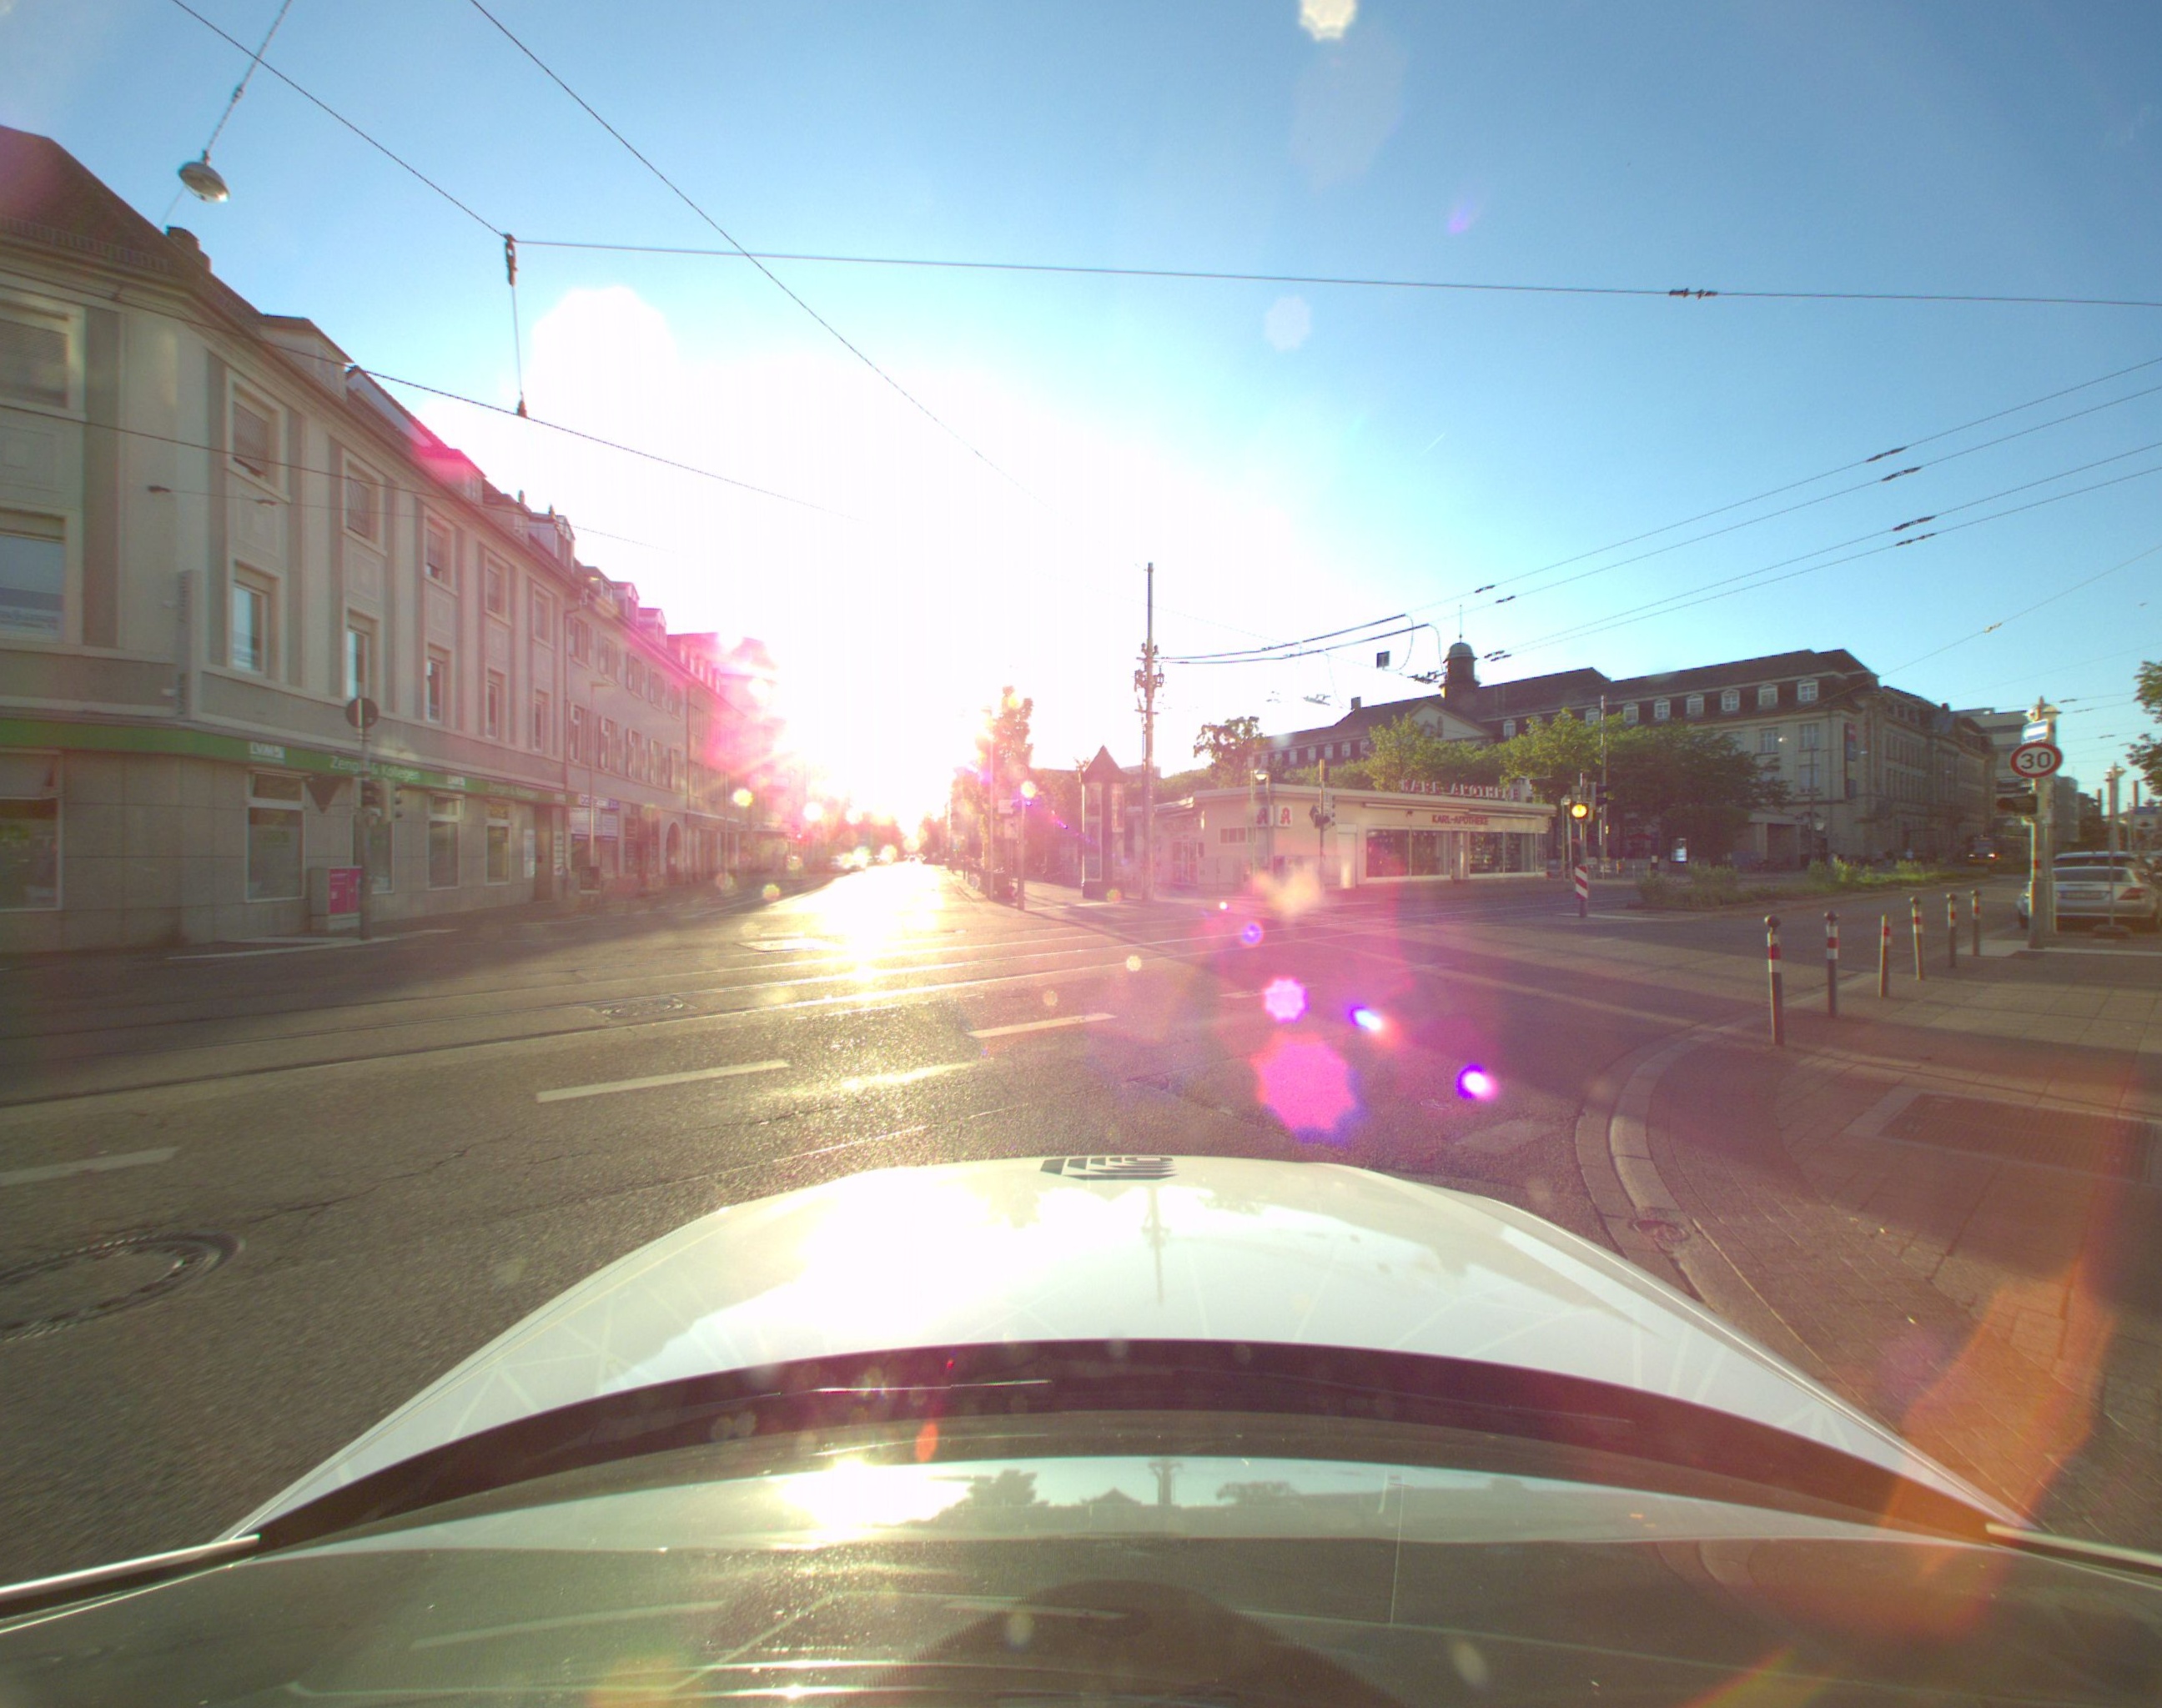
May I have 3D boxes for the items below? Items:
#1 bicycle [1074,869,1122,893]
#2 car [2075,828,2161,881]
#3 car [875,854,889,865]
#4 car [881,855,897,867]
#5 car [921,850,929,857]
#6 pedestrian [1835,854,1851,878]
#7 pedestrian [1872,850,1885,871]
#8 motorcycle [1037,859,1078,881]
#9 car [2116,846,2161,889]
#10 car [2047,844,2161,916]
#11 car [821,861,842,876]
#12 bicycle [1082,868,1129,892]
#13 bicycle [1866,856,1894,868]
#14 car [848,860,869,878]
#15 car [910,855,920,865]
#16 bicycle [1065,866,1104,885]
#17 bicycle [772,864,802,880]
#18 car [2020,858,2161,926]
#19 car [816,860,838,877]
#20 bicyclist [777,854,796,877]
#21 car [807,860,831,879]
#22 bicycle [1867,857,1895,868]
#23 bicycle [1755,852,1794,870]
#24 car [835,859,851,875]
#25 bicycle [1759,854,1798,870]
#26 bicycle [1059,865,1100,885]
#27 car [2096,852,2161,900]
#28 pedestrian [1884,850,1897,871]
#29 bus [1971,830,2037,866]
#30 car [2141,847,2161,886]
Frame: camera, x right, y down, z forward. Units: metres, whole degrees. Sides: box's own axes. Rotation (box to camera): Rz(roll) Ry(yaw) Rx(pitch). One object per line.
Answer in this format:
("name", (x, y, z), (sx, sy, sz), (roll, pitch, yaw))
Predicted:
("bicycle", (0.753, 1.220, 36.830), (2.142, 1.043, 0.559), (-1, -2, -3))
("car", (30.625, 0.068, 23.851), (4.170, 1.435, 1.717), (1, -2, -37))
("car", (-32.973, 0.935, 134.881), (1.993, 1.680, 3.986), (1, -1, -10))
("car", (-28.526, 0.986, 120.997), (1.993, 1.684, 3.988), (0, 0, -9))
("car", (-45.410, -0.097, 237.356), (1.993, 1.816, 3.988), (0, 0, -9))
("pedestrian", (61.503, 0.994, 65.750), (0.795, 1.934, 0.719), (2, -2, -31))
("pedestrian", (72.922, 0.587, 74.463), (0.664, 1.847, 0.687), (2, -2, -35))
("motorcycle", (-1.283, 0.877, 44.621), (2.231, 1.201, 0.719), (0, 0, -6))
("car", (41.902, 0.500, 31.597), (4.741, 1.585, 1.803), (0, 0, -34))
("car", (25.550, 0.588, 20.159), (4.305, 1.605, 1.751), (0, 0, -36))
("car", (-23.860, 1.388, 77.996), (1.546, 1.469, 3.338), (0, -1, -11))
("bicycle", (1.068, 1.141, 35.908), (2.015, 1.044, 0.559), (-1, -2, -3))
("bicycle", (83.322, 0.835, 84.930), (0.577, 1.148, 2.079), (2, -2, -39))
("car", (-18.935, 1.307, 69.393), (1.546, 1.468, 3.338), (0, -1, -11))
("car", (-35.663, 1.230, 174.681), (1.995, 2.014, 3.984), (1, -1, -11))
("bicycle", (0.195, 1.113, 43.136), (2.033, 0.977, 0.559), (-1, -2, -3))
("bicycle", (-22.905, 1.375, 63.457), (2.106, 1.204, 0.501), (1, -2, 7))
("car", (21.568, 0.735, 17.215), (4.078, 1.282, 1.662), (0, -1, -33))
("car", (-22.812, 1.336, 73.148), (1.546, 1.469, 3.338), (0, -1, -11))
("bicyclist", (-22.964, 0.923, 63.467), (1.123, 1.791, 0.766), (1, -2, 7))
("car", (-22.325, 1.309, 69.544), (1.546, 1.484, 3.339), (-1, 0, -11))
("bicycle", (83.832, 0.852, 85.369), (0.577, 1.148, 2.060), (2, -2, -39))
("bicycle", (52.425, 0.535, 61.611), (0.582, 1.300, 2.180), (2, -2, -34))
("car", (-24.694, 1.373, 84.643), (1.307, 1.582, 2.877), (0, -1, -11))
("bicycle", (53.608, 0.611, 62.596), (0.582, 1.255, 2.225), (2, -2, -34))
("bicycle", (-0.071, 1.080, 41.528), (2.073, 0.982, 0.559), (-1, -2, -3))
("car", (37.028, 0.712, 28.389), (4.857, 1.552, 1.795), (0, 0, -36))
("pedestrian", (73.536, 0.585, 73.956), (0.717, 1.840, 0.727), (2, -2, -35))
("bus", (101.743, -0.600, 89.653), (17.142, 3.651, 2.801), (0, -1, -35))
("car", (47.439, 0.493, 35.211), (4.598, 1.538, 1.762), (-2, 0, -35))
